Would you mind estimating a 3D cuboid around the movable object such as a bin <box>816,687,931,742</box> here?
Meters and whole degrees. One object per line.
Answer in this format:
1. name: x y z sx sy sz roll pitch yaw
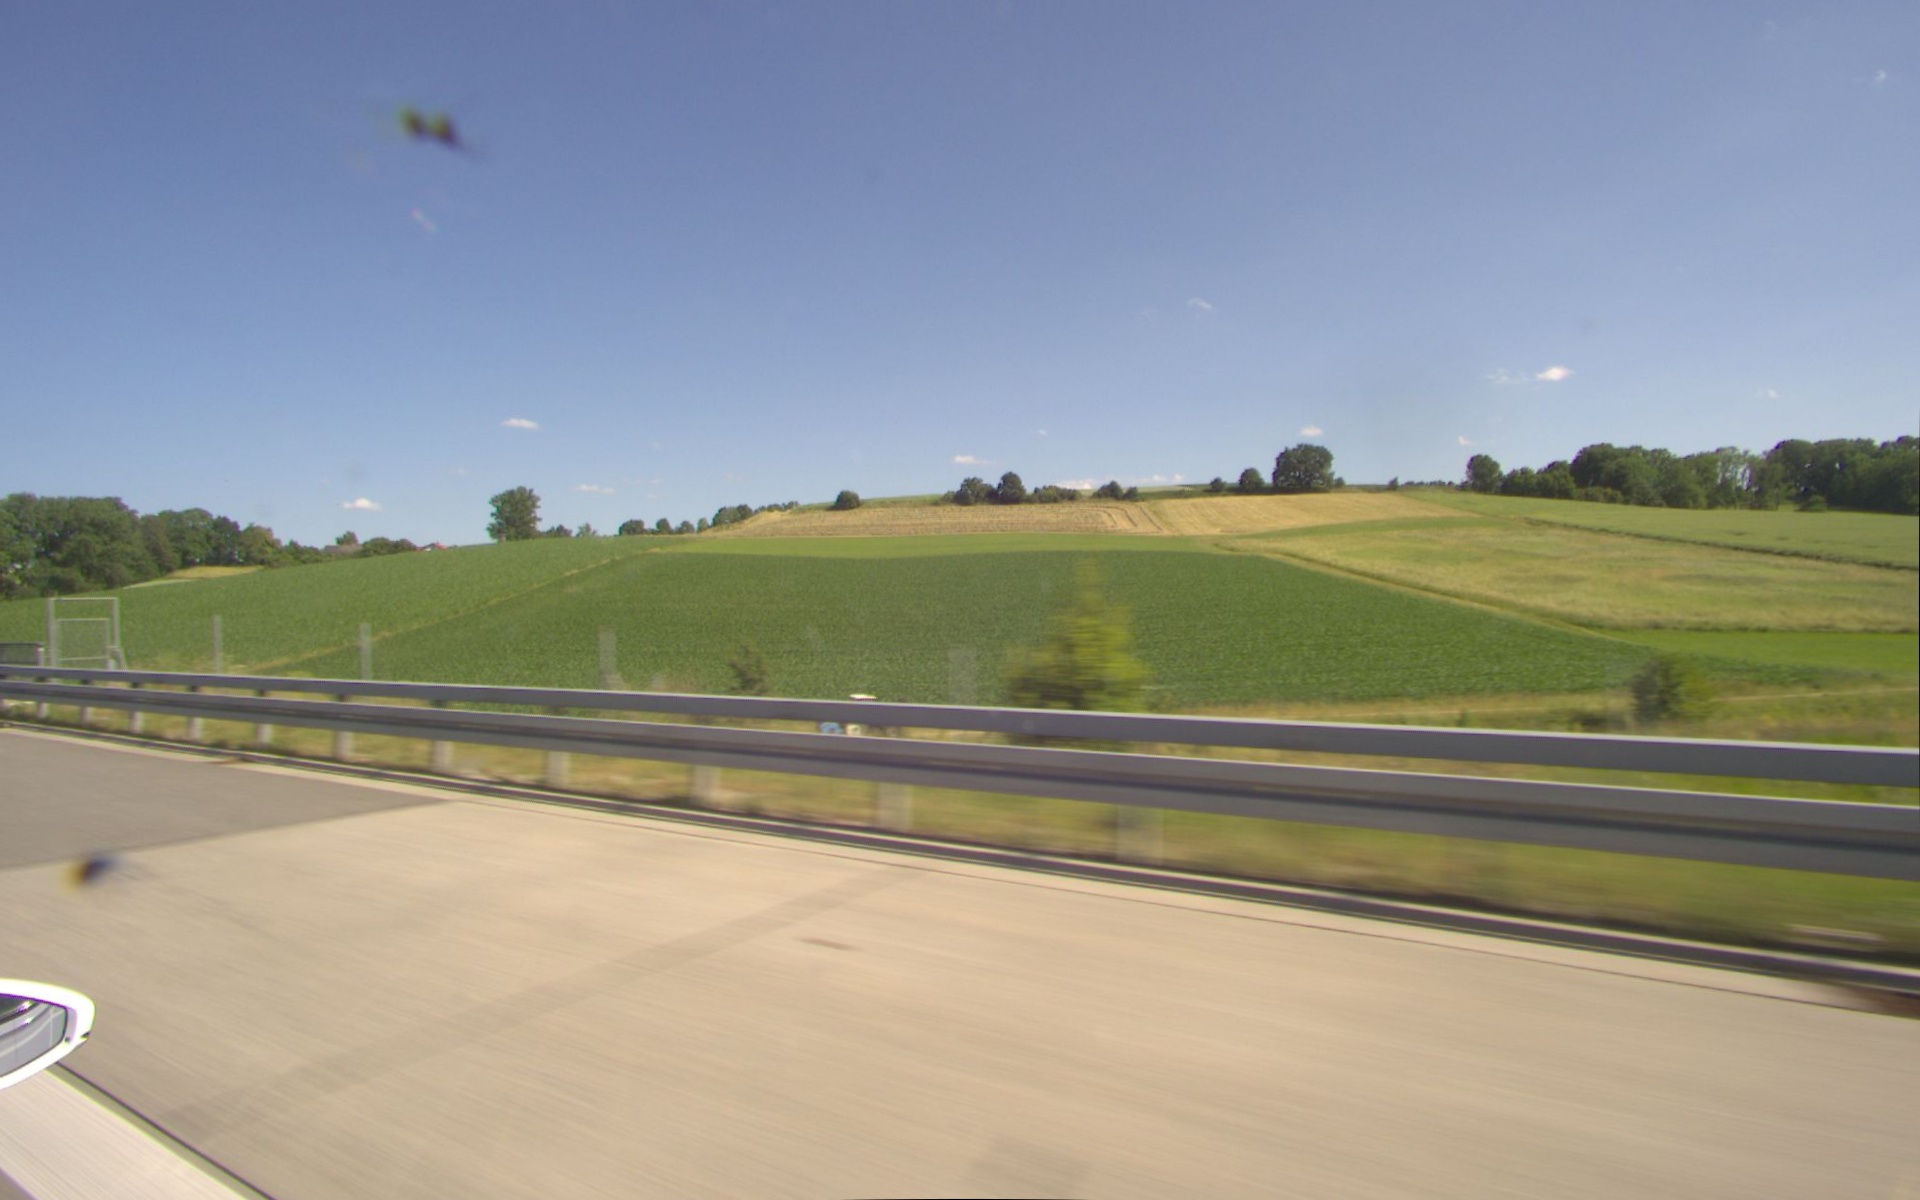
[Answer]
1. movable object such as a bin: -5.130 6.691 58.984 6.123 2.805 3.282 0 -2 -18
